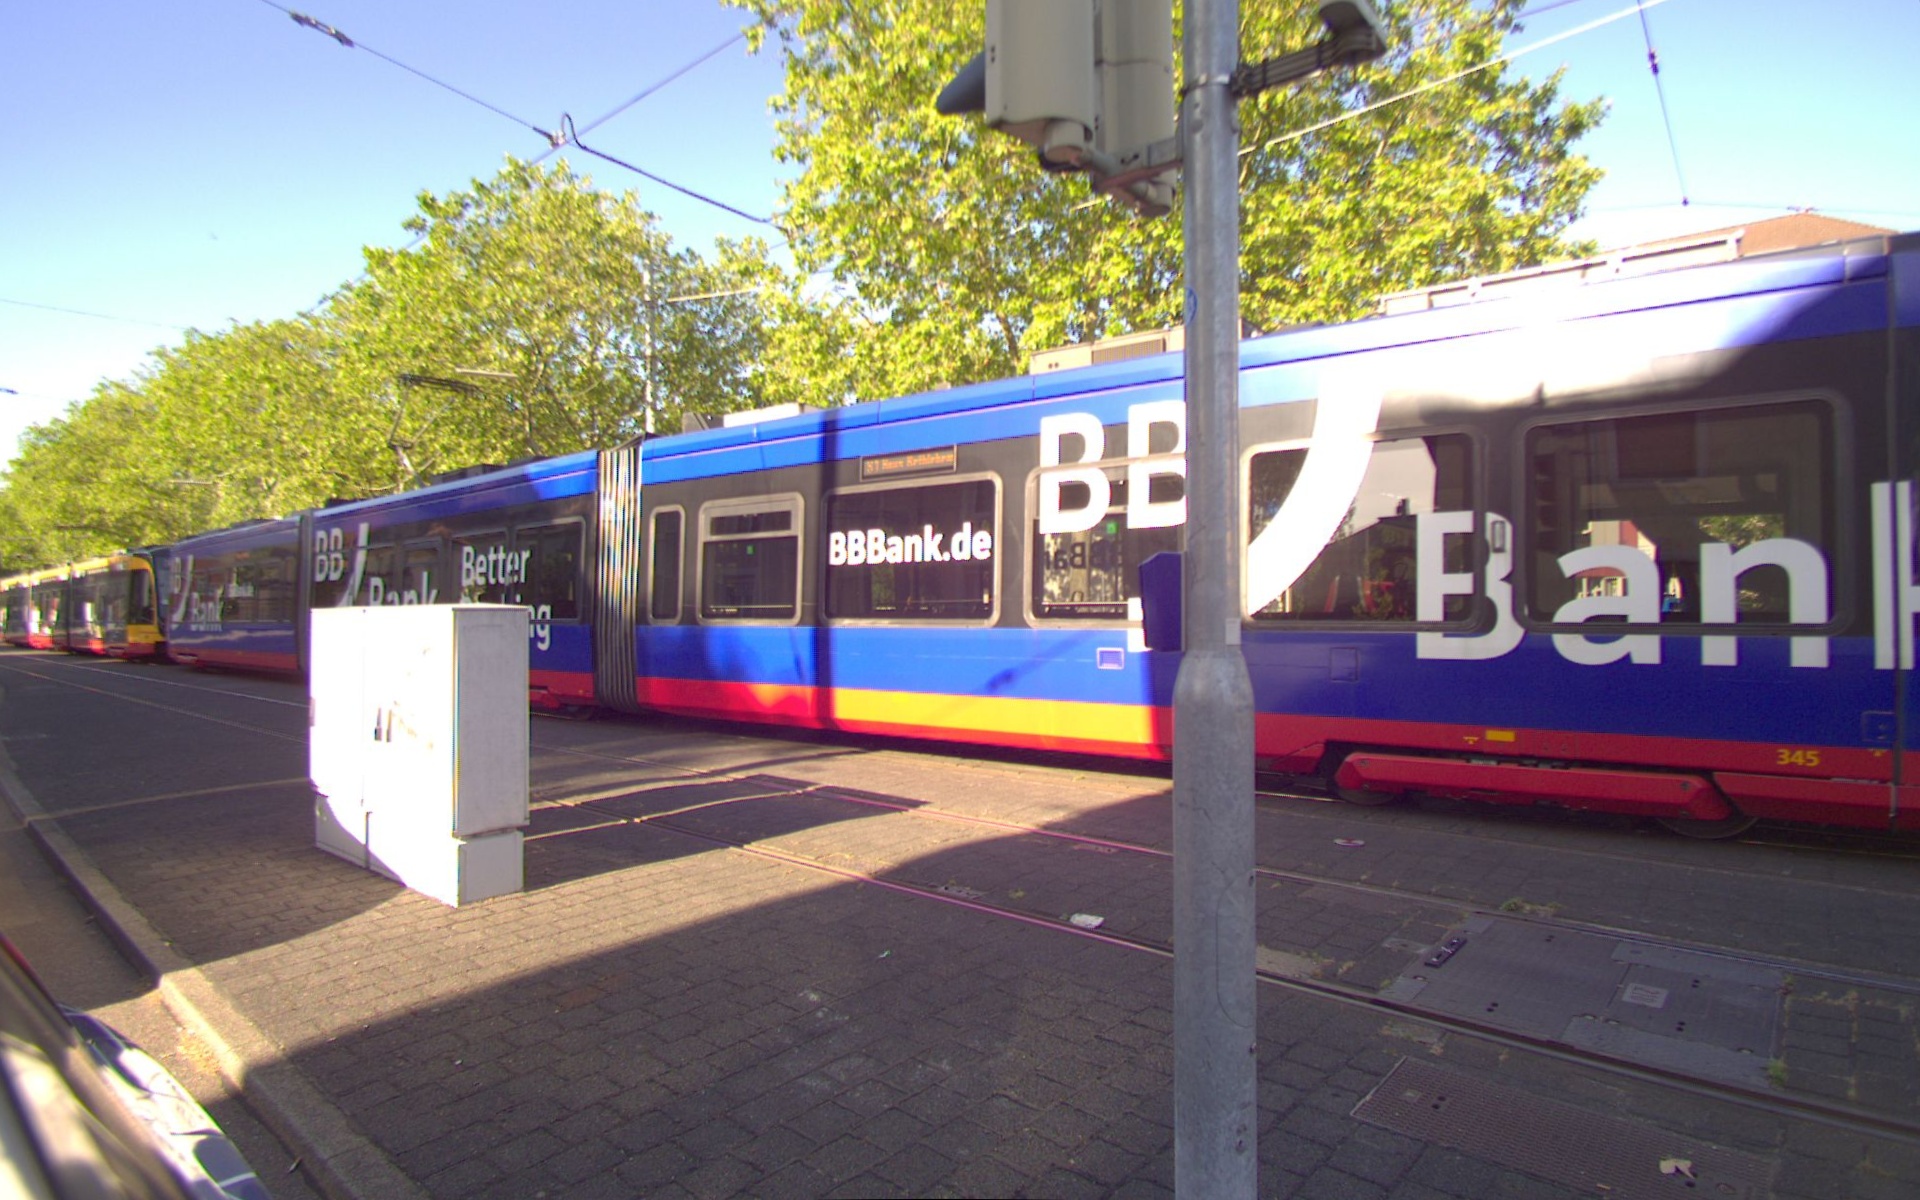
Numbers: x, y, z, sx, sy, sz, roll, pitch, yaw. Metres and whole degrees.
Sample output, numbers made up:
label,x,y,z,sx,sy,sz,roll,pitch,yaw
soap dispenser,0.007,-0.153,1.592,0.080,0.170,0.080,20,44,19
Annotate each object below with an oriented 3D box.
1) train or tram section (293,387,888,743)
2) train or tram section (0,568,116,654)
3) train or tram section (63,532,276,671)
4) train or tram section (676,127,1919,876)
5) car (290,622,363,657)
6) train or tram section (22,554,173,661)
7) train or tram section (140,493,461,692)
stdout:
label,x,y,z,sx,sy,sz,roll,pitch,yaw
train or tram section,-6.574,-0.245,15.633,12.496,3.640,3.023,-1,-2,41
train or tram section,-43.223,0.574,48.066,12.886,3.640,3.022,-1,-2,42
train or tram section,-25.020,0.163,31.643,12.108,3.640,3.023,-1,-2,41
train or tram section,2.853,-0.416,8.077,12.088,3.640,3.028,-1,-1,36
car,-28.952,1.784,46.229,4.000,1.497,1.857,-1,-2,43
train or tram section,-34.016,0.361,39.664,11.948,3.640,3.022,-1,-2,42
train or tram section,-15.851,-0.028,23.667,12.106,3.640,3.024,-1,-1,41
